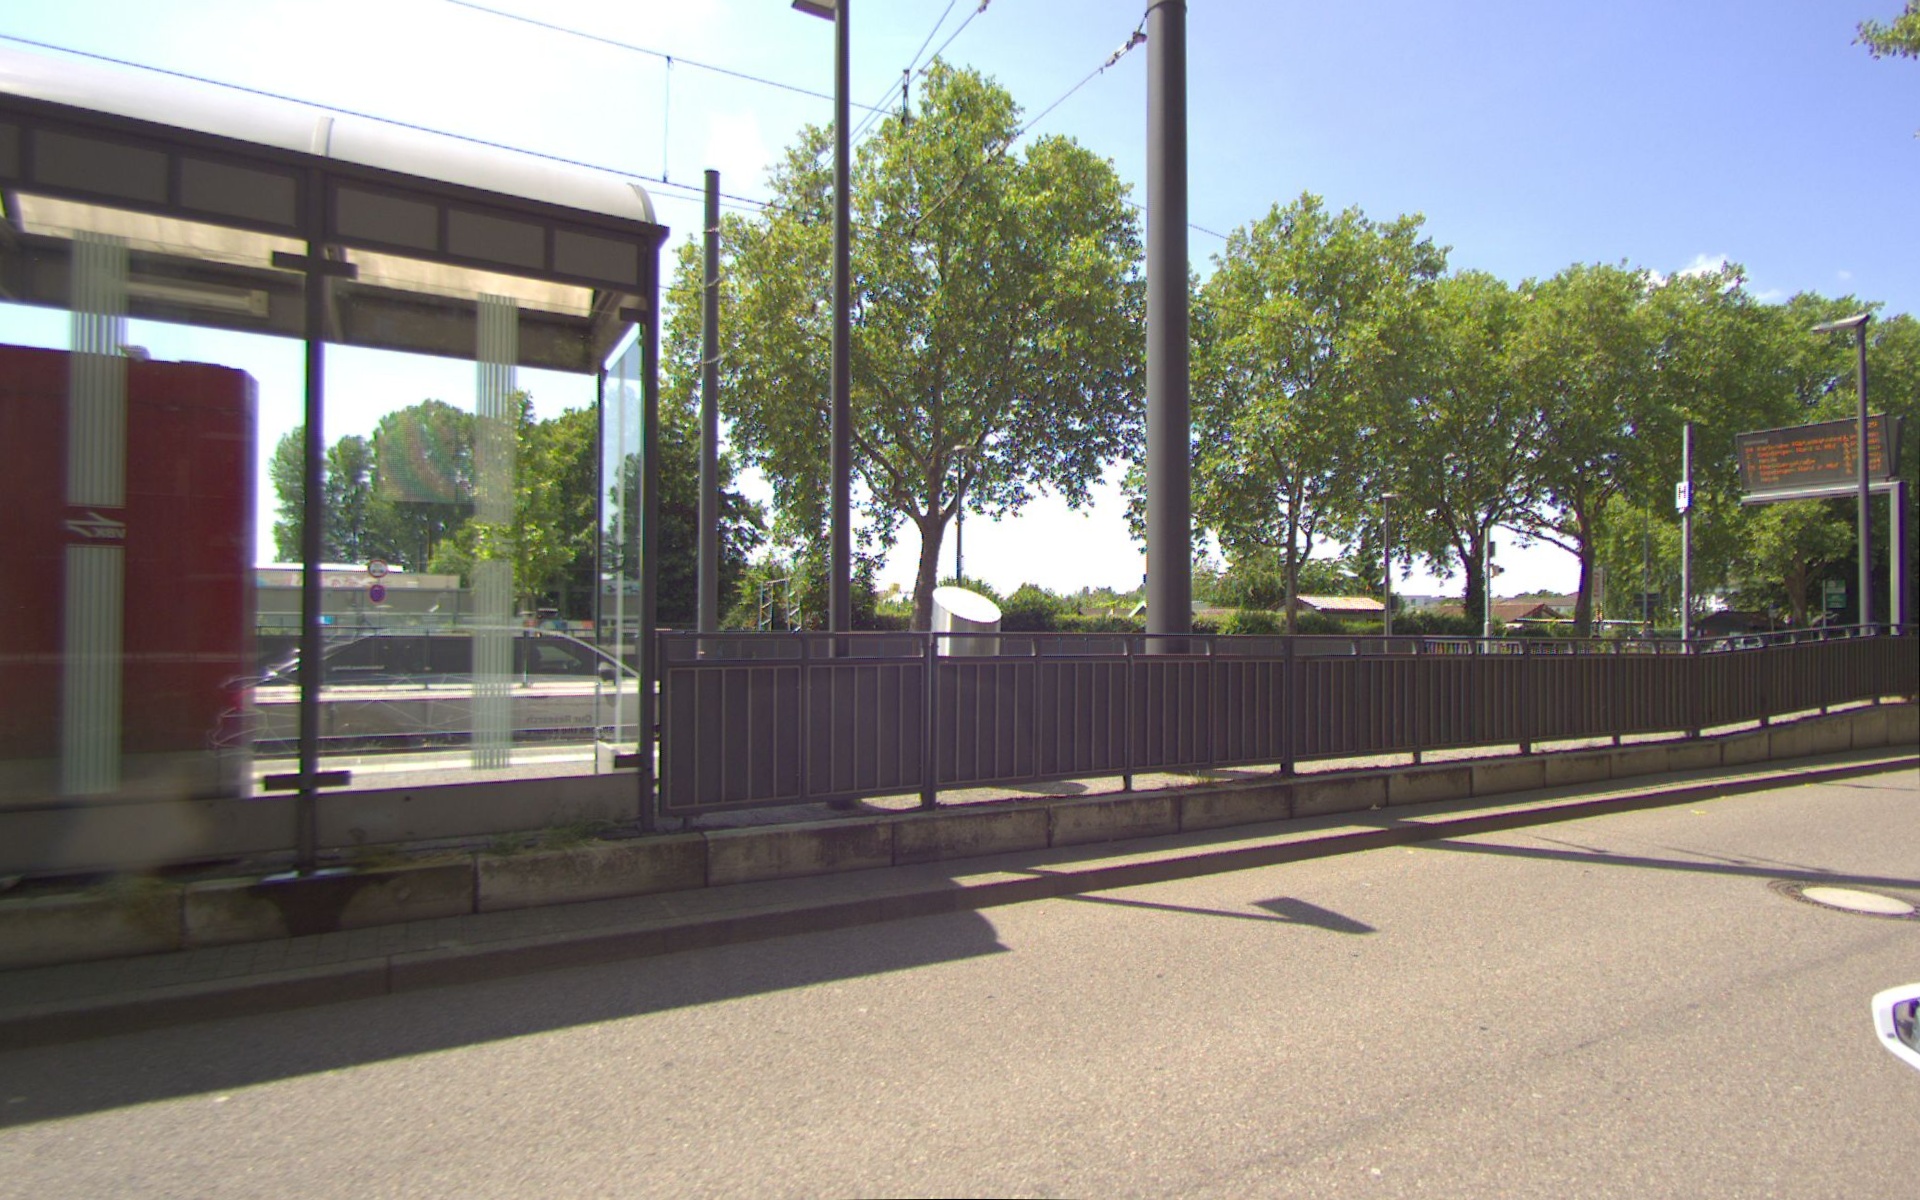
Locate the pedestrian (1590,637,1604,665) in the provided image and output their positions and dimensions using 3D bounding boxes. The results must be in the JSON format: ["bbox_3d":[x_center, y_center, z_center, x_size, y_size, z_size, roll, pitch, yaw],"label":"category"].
[{"bbox_3d":[34.996,2.792,55.184,0.641,1.471,0.551,2,-1,-44],"label":"pedestrian"}]

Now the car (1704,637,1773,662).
[{"bbox_3d":[50.237,3.202,64.838,1.641,1.495,3.288,2,-2,-40],"label":"car"}]
